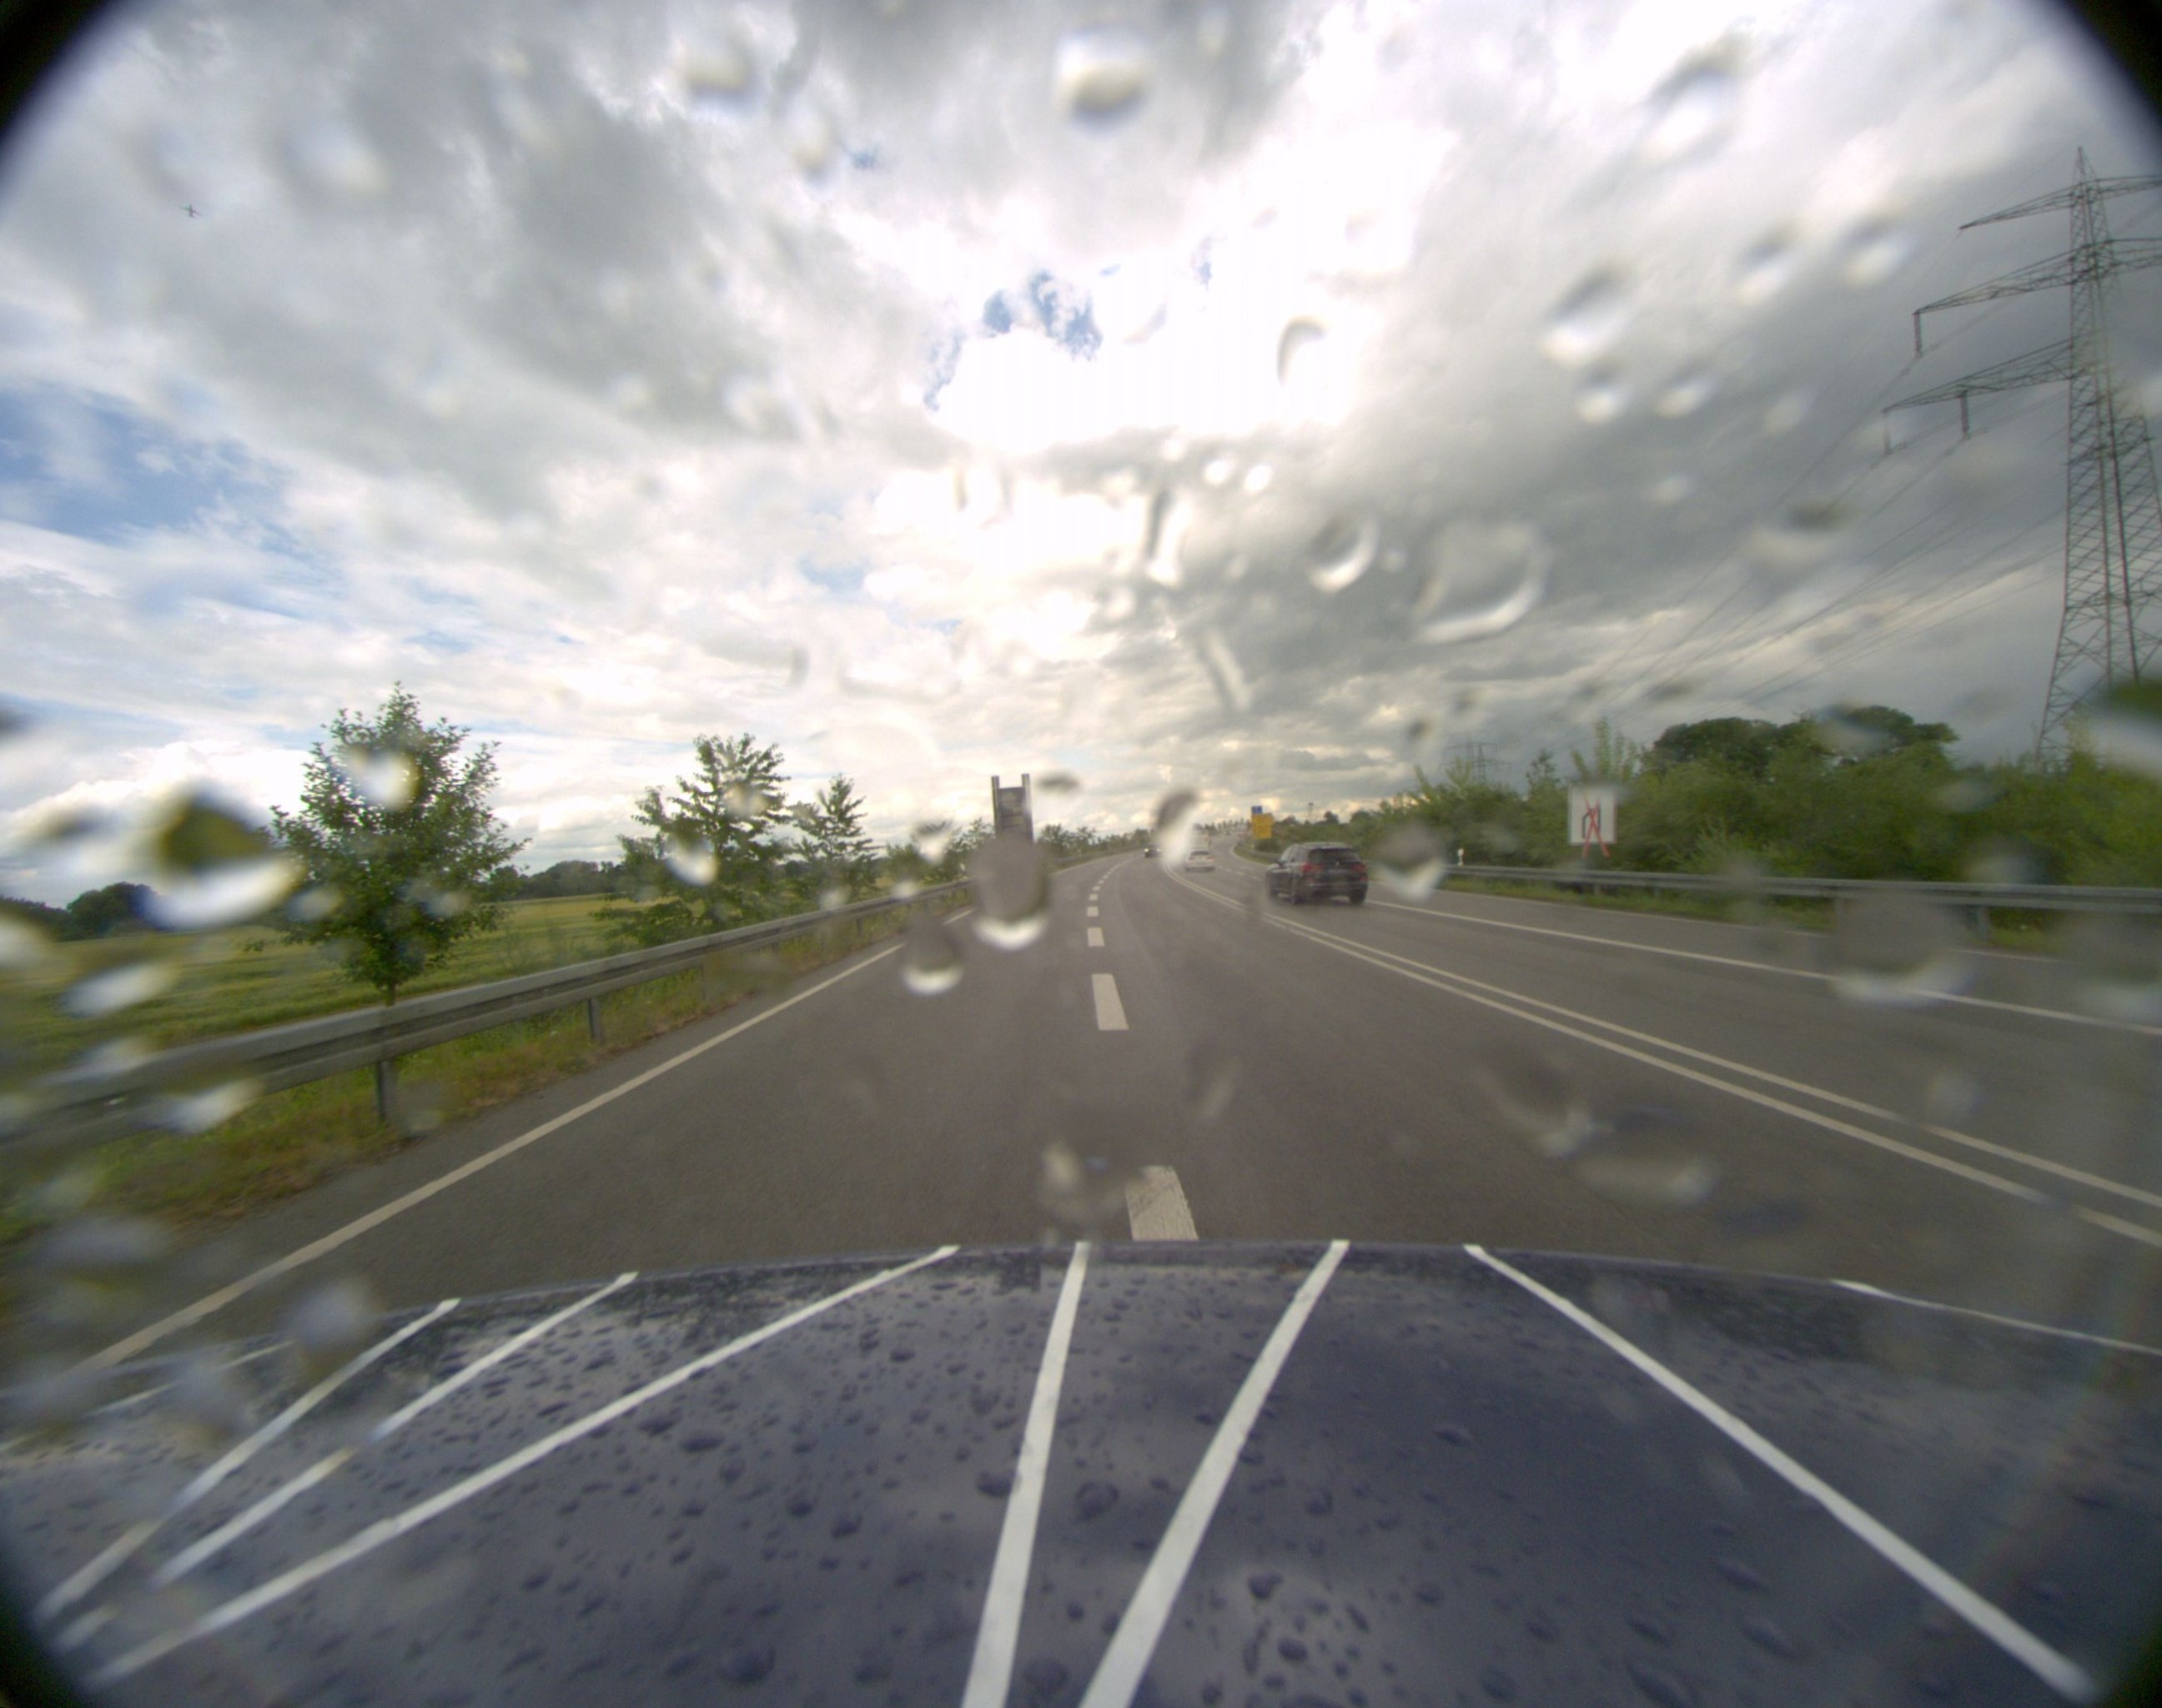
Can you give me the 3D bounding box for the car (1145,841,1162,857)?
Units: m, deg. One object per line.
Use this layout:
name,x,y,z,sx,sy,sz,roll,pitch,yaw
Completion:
car,8.572,-0.565,89.855,1.795,1.758,4.001,-3,0,5

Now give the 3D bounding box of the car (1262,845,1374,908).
car,6.519,0.543,21.380,1.804,1.565,4.259,-1,0,0

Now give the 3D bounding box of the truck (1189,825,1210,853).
truck,13.711,-1.740,87.810,2.260,3.138,6.693,-1,1,9

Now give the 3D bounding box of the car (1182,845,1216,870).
car,7.567,0.181,49.100,1.683,1.449,4.075,-2,1,3

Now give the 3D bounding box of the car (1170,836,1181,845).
car,16.303,-2.286,131.341,1.748,1.488,4.052,-3,0,7

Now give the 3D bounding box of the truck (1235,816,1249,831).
truck,37.562,-7.142,177.058,2.484,3.273,7.288,-1,1,16
